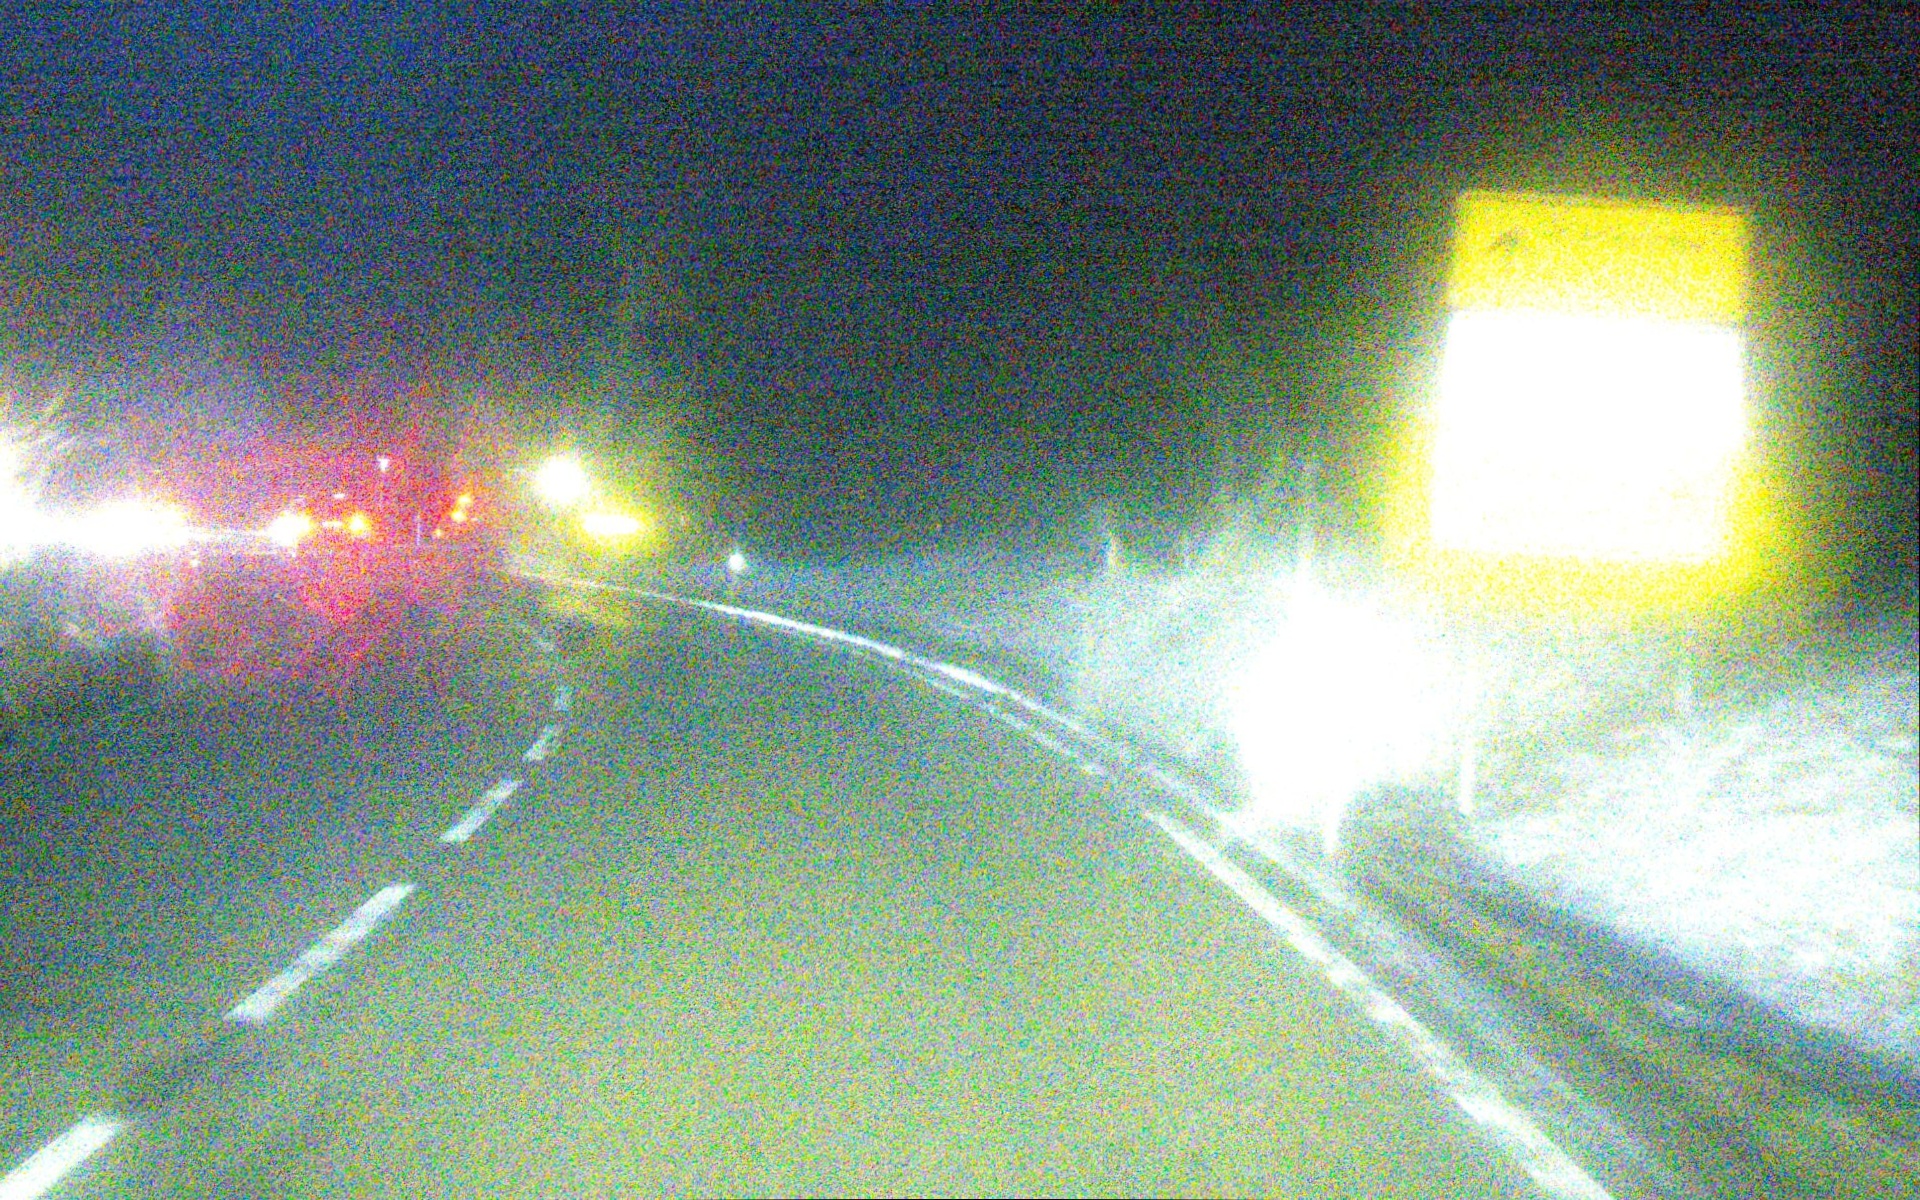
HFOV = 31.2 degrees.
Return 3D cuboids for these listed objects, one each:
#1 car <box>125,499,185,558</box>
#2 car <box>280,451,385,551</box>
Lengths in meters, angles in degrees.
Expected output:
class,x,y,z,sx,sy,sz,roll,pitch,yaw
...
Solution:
class,x,y,z,sx,sy,sz,roll,pitch,yaw
car,-28.660,-2.530,122.517,1.993,2.007,4.001,1,1,-12
car,-18.038,-2.865,98.635,2.538,2.489,5.718,1,5,-14
